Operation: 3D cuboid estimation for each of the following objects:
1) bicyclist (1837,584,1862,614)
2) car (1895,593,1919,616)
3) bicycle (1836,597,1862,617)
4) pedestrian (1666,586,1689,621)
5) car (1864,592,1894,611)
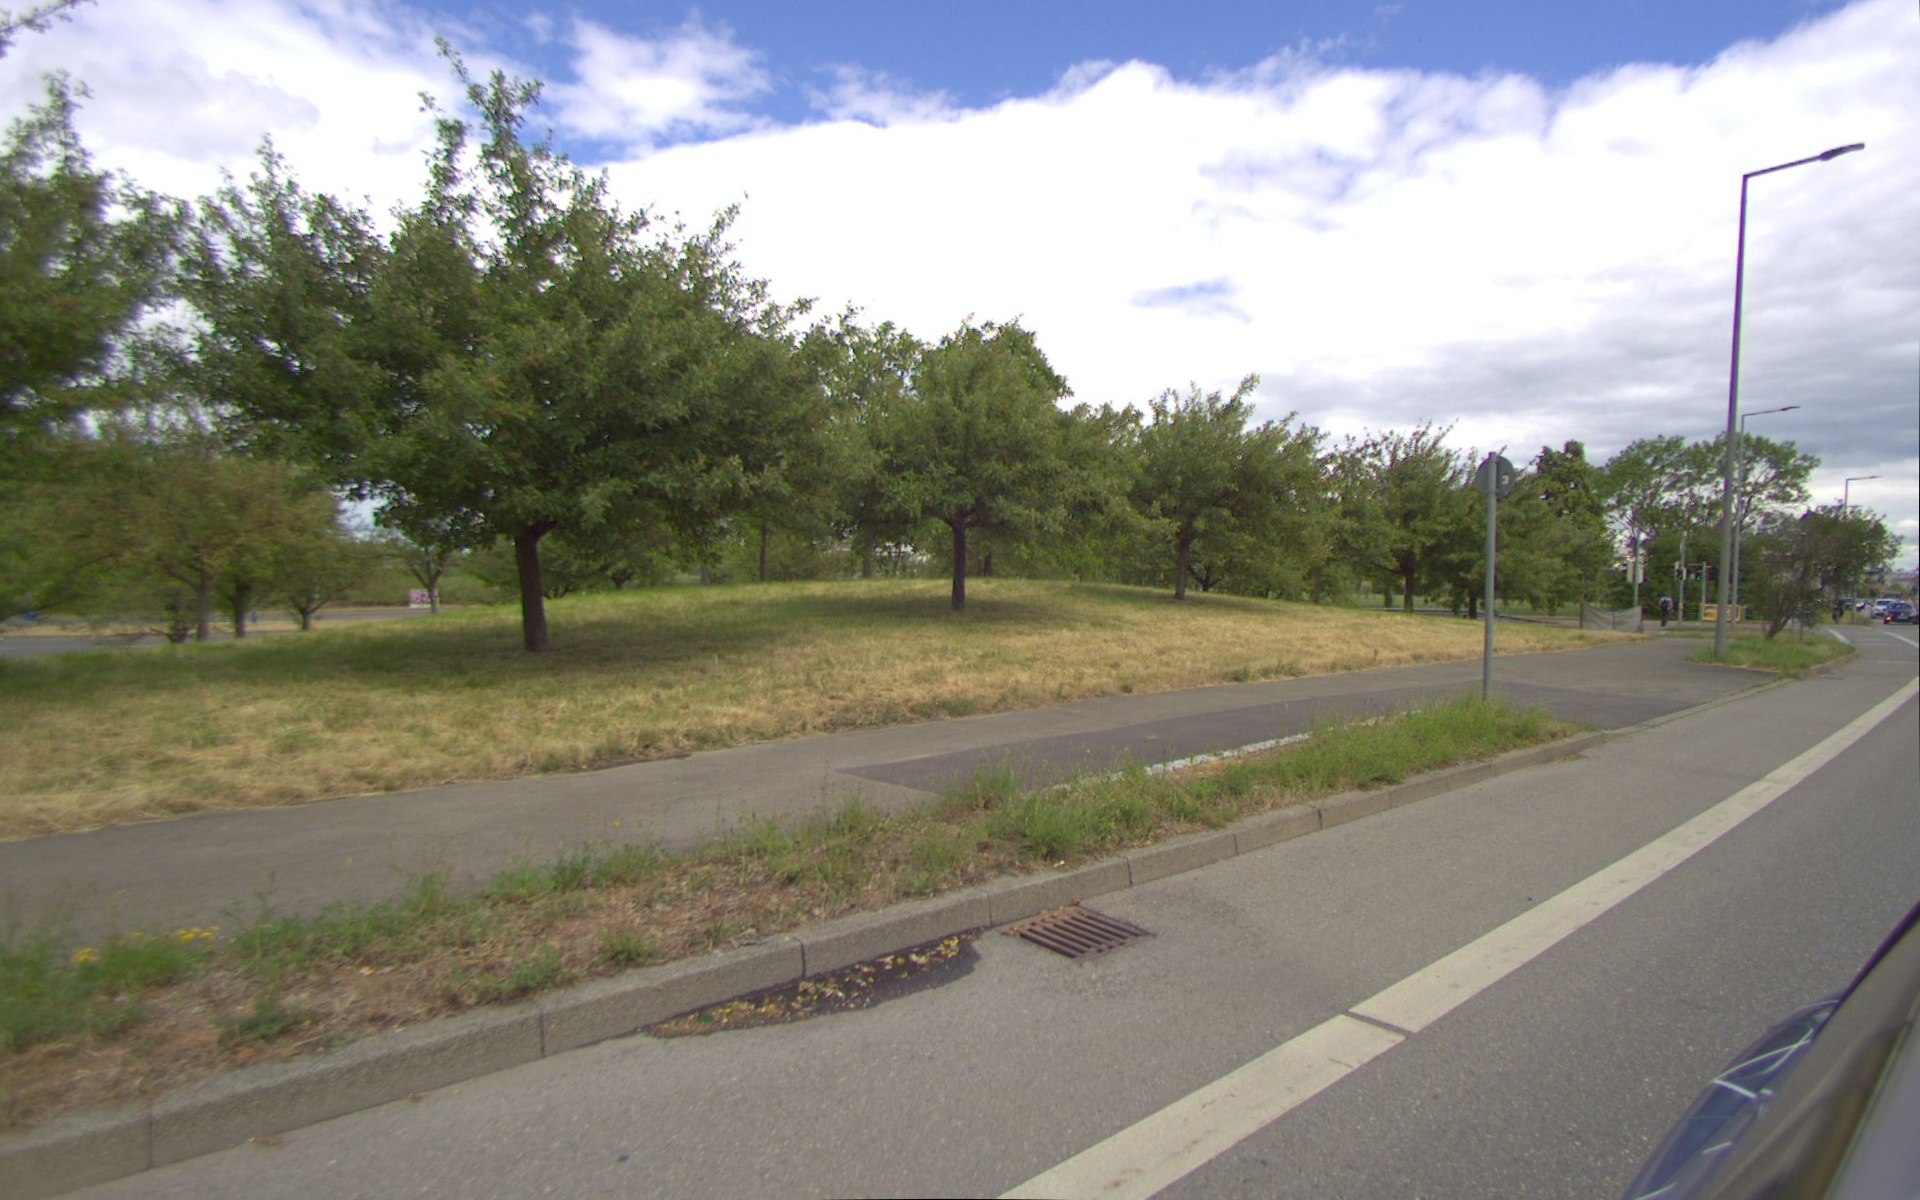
[{"bbox_3d":[54.046,-0.077,61.511,1.012,1.729,1.184,3,2,39],"label":"bicyclist"},{"bbox_3d":[61.982,0.260,65.796,1.731,1.459,4.300,1,1,43],"label":"car"},{"bbox_3d":[54.015,0.432,61.513,1.012,1.148,2.638,3,2,39],"label":"bicycle"},{"bbox_3d":[38.826,0.177,54.763,0.788,1.907,0.763,0,0,12],"label":"pedestrian"},{"bbox_3d":[74.455,0.107,81.989,1.731,1.459,4.300,1,1,43],"label":"car"}]
